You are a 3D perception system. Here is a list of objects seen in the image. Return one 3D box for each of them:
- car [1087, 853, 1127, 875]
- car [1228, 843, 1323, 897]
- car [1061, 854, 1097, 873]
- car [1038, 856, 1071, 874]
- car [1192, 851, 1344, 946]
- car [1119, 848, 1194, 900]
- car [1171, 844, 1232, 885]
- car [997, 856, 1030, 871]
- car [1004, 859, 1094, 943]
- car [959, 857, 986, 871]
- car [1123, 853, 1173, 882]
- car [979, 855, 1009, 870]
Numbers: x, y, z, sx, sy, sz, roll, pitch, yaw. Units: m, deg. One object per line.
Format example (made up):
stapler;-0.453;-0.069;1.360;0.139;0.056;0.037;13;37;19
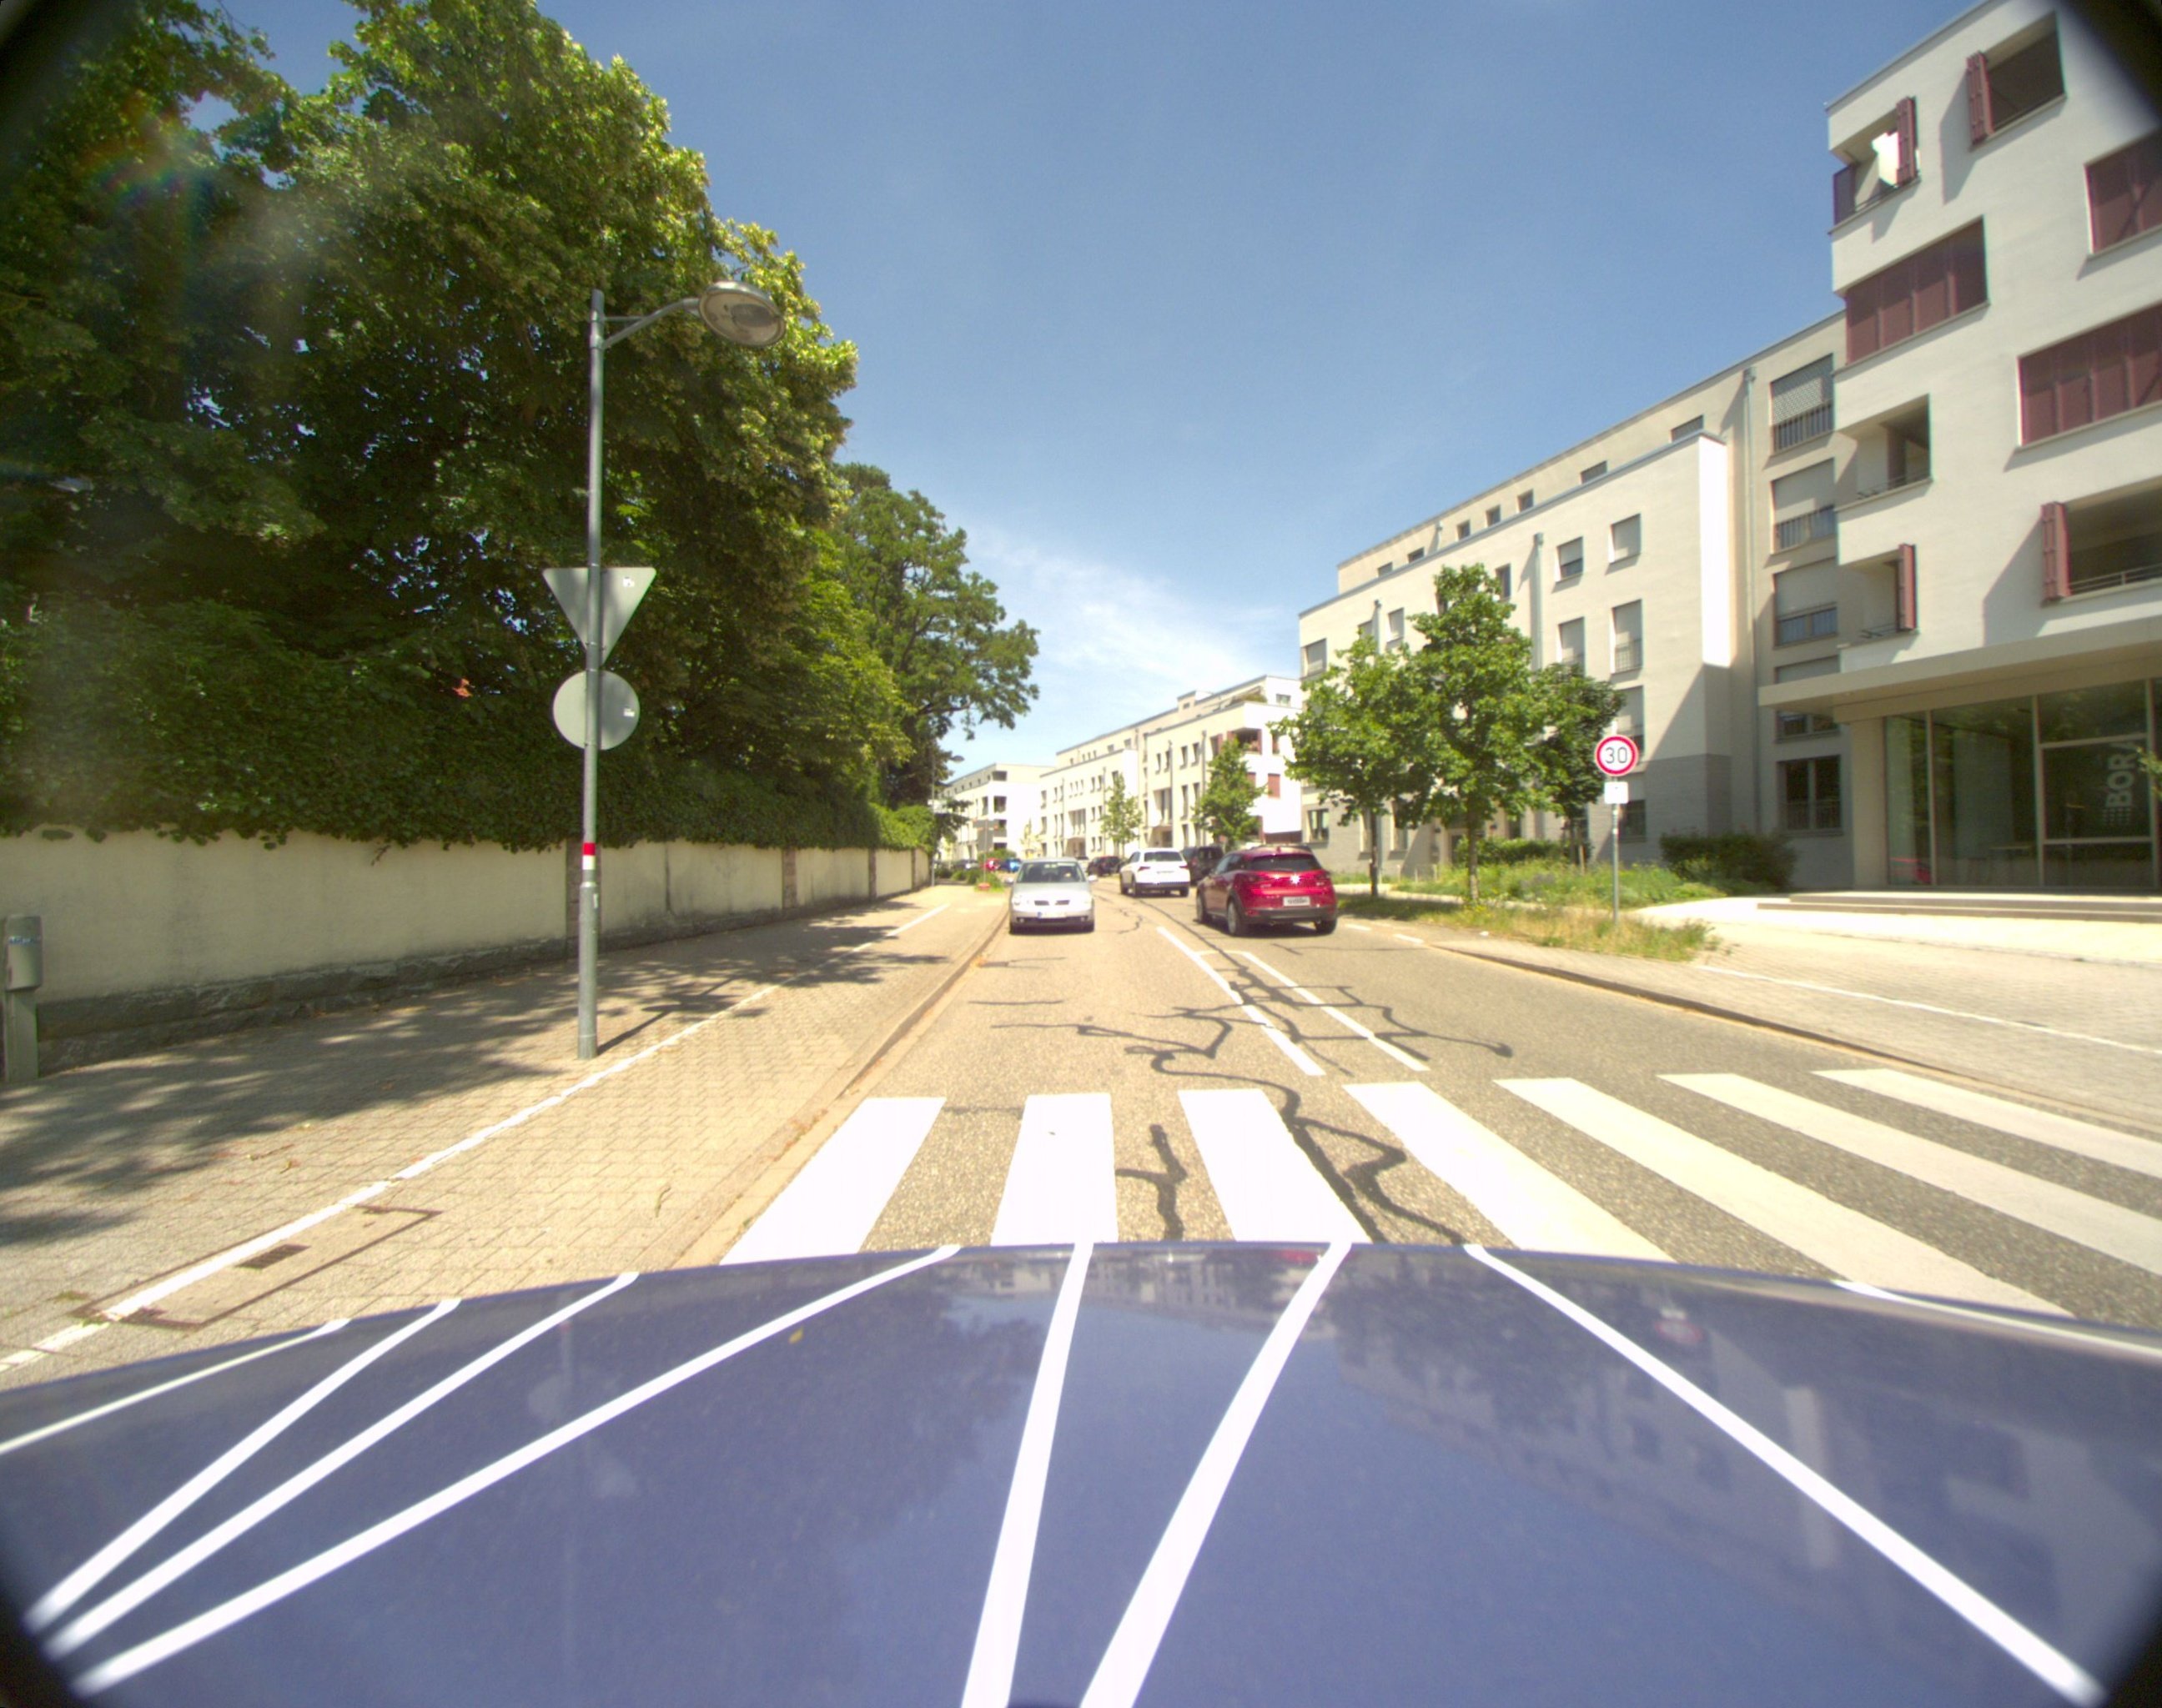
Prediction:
car;1.742;0.650;51.773;1.708;1.405;3.623;-1;1;-15
car;6.462;0.494;25.736;1.699;1.628;4.017;-1;0;-8
car;-0.172;0.704;57.810;1.708;1.405;3.715;-1;1;-17
car;-2.250;0.934;64.041;1.709;1.405;3.715;-1;1;-20
car;3.334;0.727;14.338;1.755;1.496;3.991;-1;0;-2
car;2.502;0.632;26.256;1.816;1.599;4.118;-1;0;-5
car;5.341;0.447;34.166;1.699;1.690;3.624;-1;1;-8
car;-6.525;0.879;73.176;1.710;1.405;3.713;-2;1;-29
car;-0.576;0.861;15.840;1.607;1.443;3.999;-1;0;0
car;-11.913;1.094;83.425;1.710;1.405;3.713;-2;1;-29
car;3.785;0.733;43.620;1.792;1.580;3.623;-1;1;-13
car;-8.915;0.869;77.963;1.710;1.405;3.713;-2;1;-29
